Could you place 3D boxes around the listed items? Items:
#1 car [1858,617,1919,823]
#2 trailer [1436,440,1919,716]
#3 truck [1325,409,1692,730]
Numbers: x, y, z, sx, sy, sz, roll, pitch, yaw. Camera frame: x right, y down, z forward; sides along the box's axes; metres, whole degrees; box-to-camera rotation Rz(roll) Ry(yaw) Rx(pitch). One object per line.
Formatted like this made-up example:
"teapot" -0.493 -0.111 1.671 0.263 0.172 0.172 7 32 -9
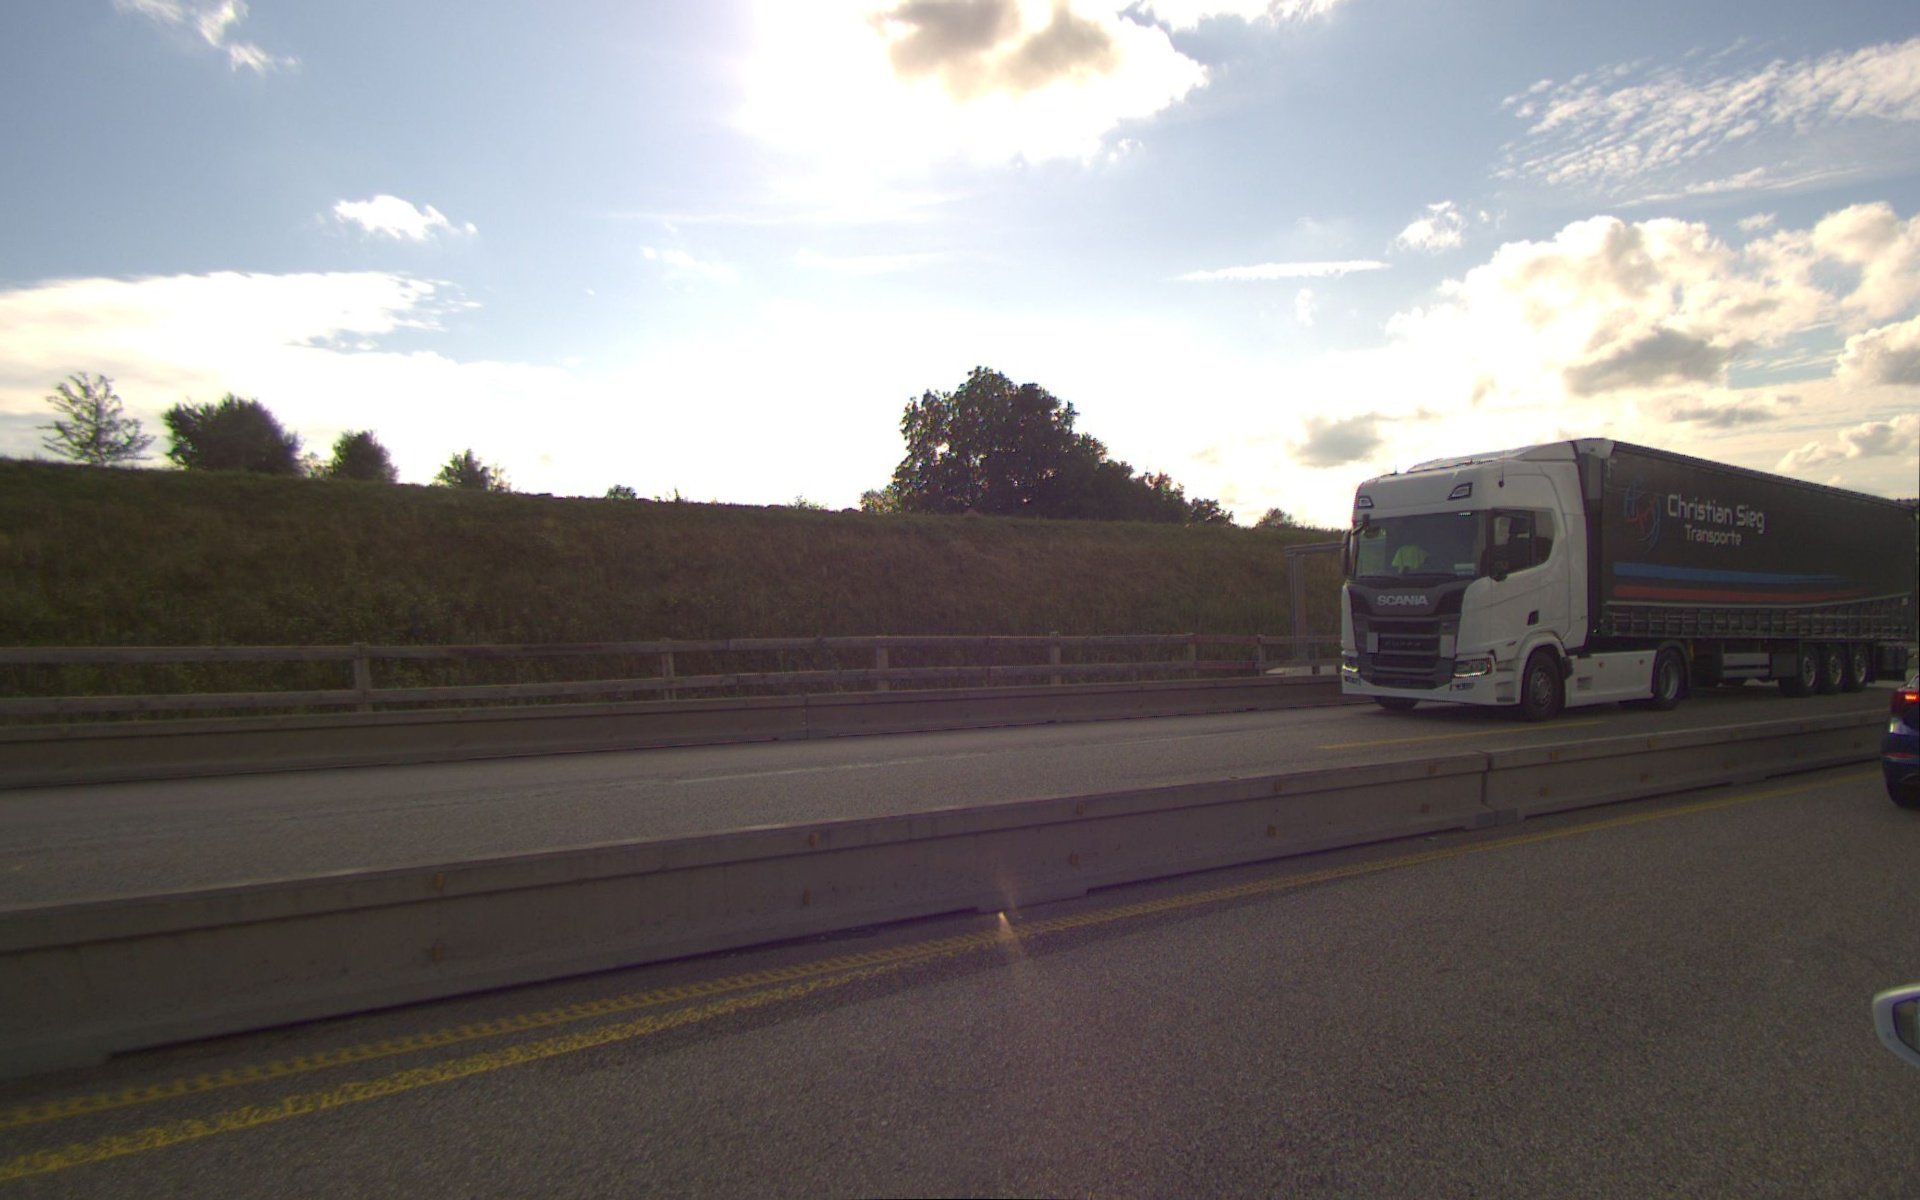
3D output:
"car" 9.105 0.933 8.077 3.954 1.528 1.706 1 0 -31
"trailer" 14.456 -0.218 19.337 13.718 4.006 2.600 1 0 -32
"truck" 8.707 -0.356 15.805 5.716 4.209 2.601 1 0 -32
